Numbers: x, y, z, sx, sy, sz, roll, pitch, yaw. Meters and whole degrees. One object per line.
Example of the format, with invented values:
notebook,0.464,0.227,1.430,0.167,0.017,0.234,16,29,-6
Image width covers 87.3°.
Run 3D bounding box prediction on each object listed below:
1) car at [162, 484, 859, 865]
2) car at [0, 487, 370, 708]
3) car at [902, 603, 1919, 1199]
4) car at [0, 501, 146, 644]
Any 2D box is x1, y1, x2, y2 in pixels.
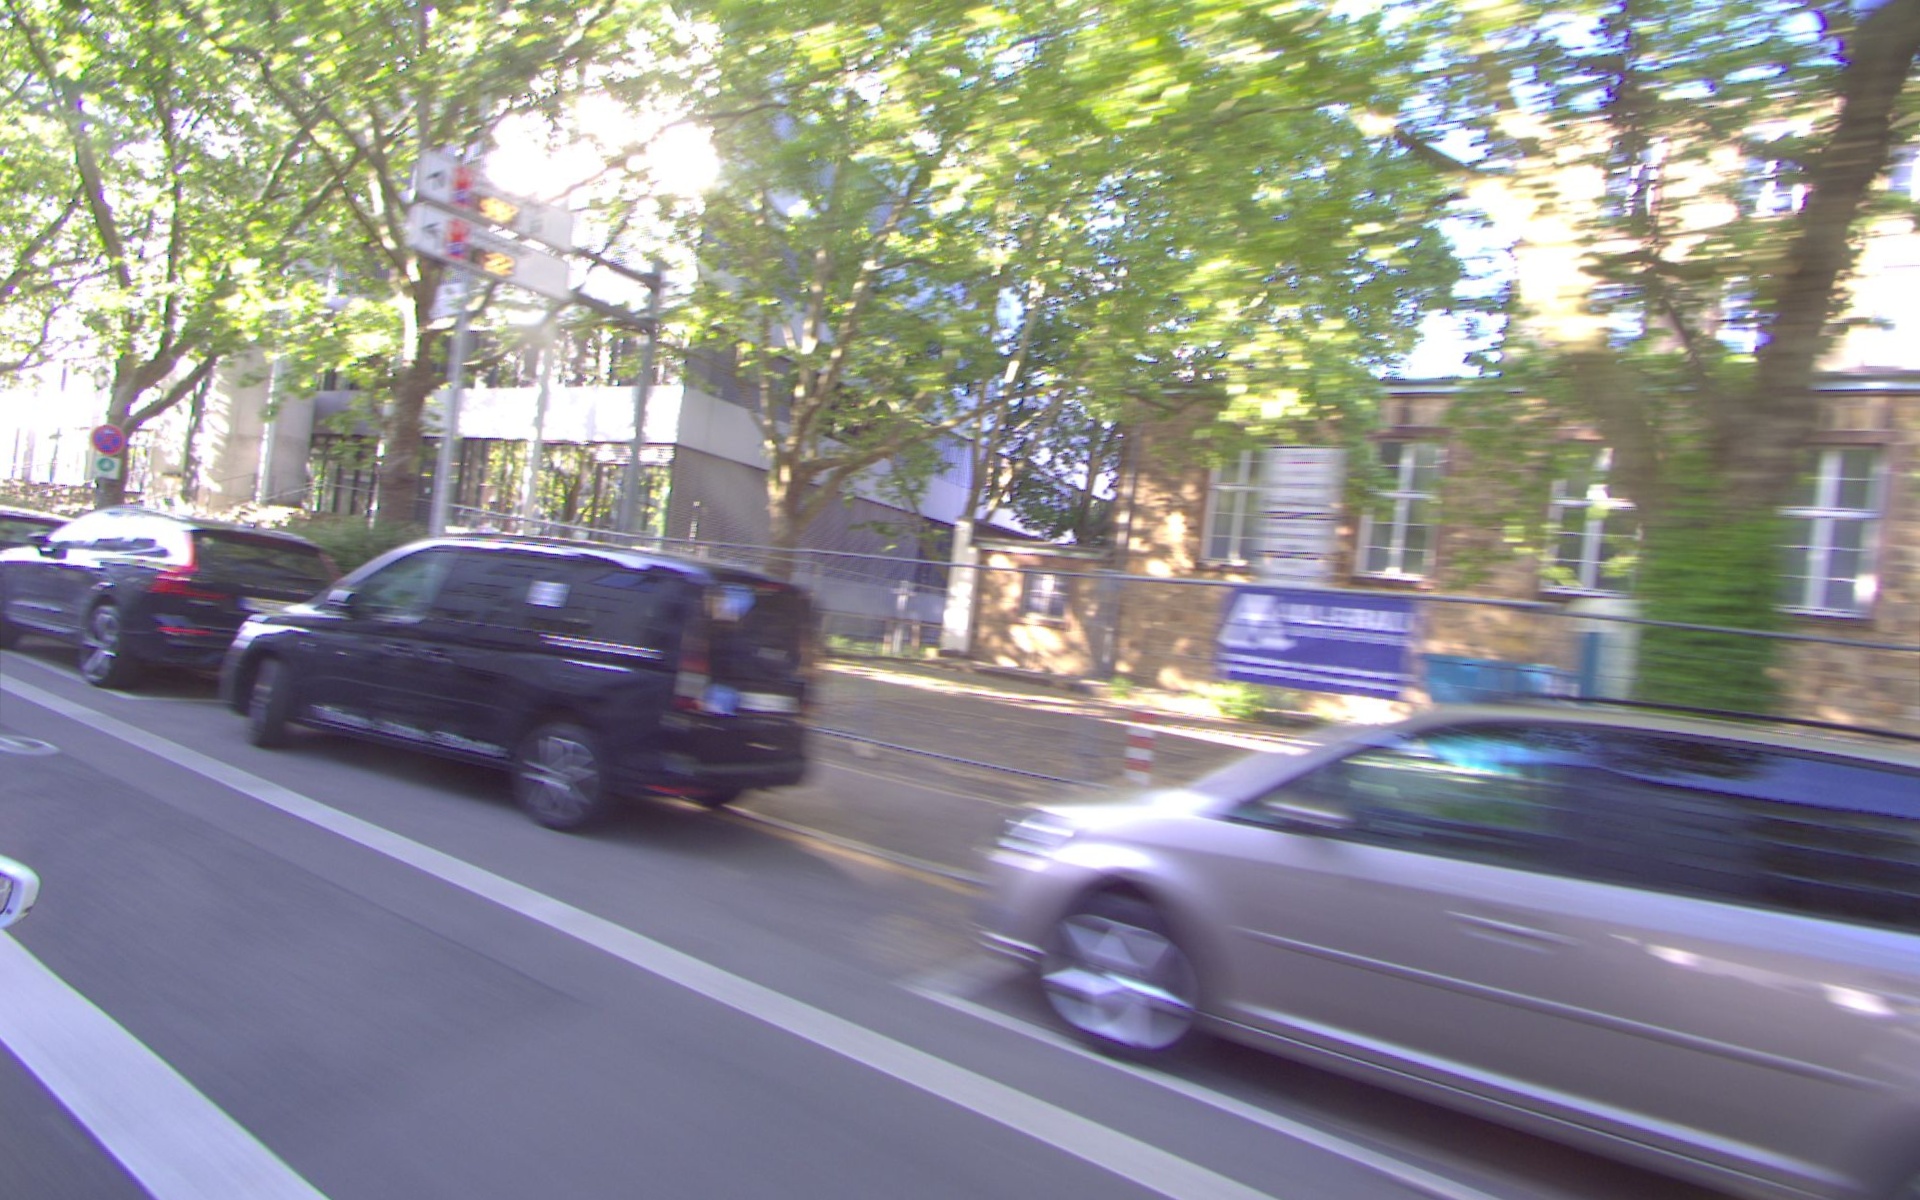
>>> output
car,-3.419,0.415,7.595,4.810,1.861,1.832,7,-3,23
car,-8.352,-0.093,10.340,4.542,1.645,1.781,7,-3,30
car,2.106,1.155,4.025,4.256,1.645,1.698,7,-3,29
car,-12.466,-0.516,12.881,3.951,1.520,1.698,7,-3,29
